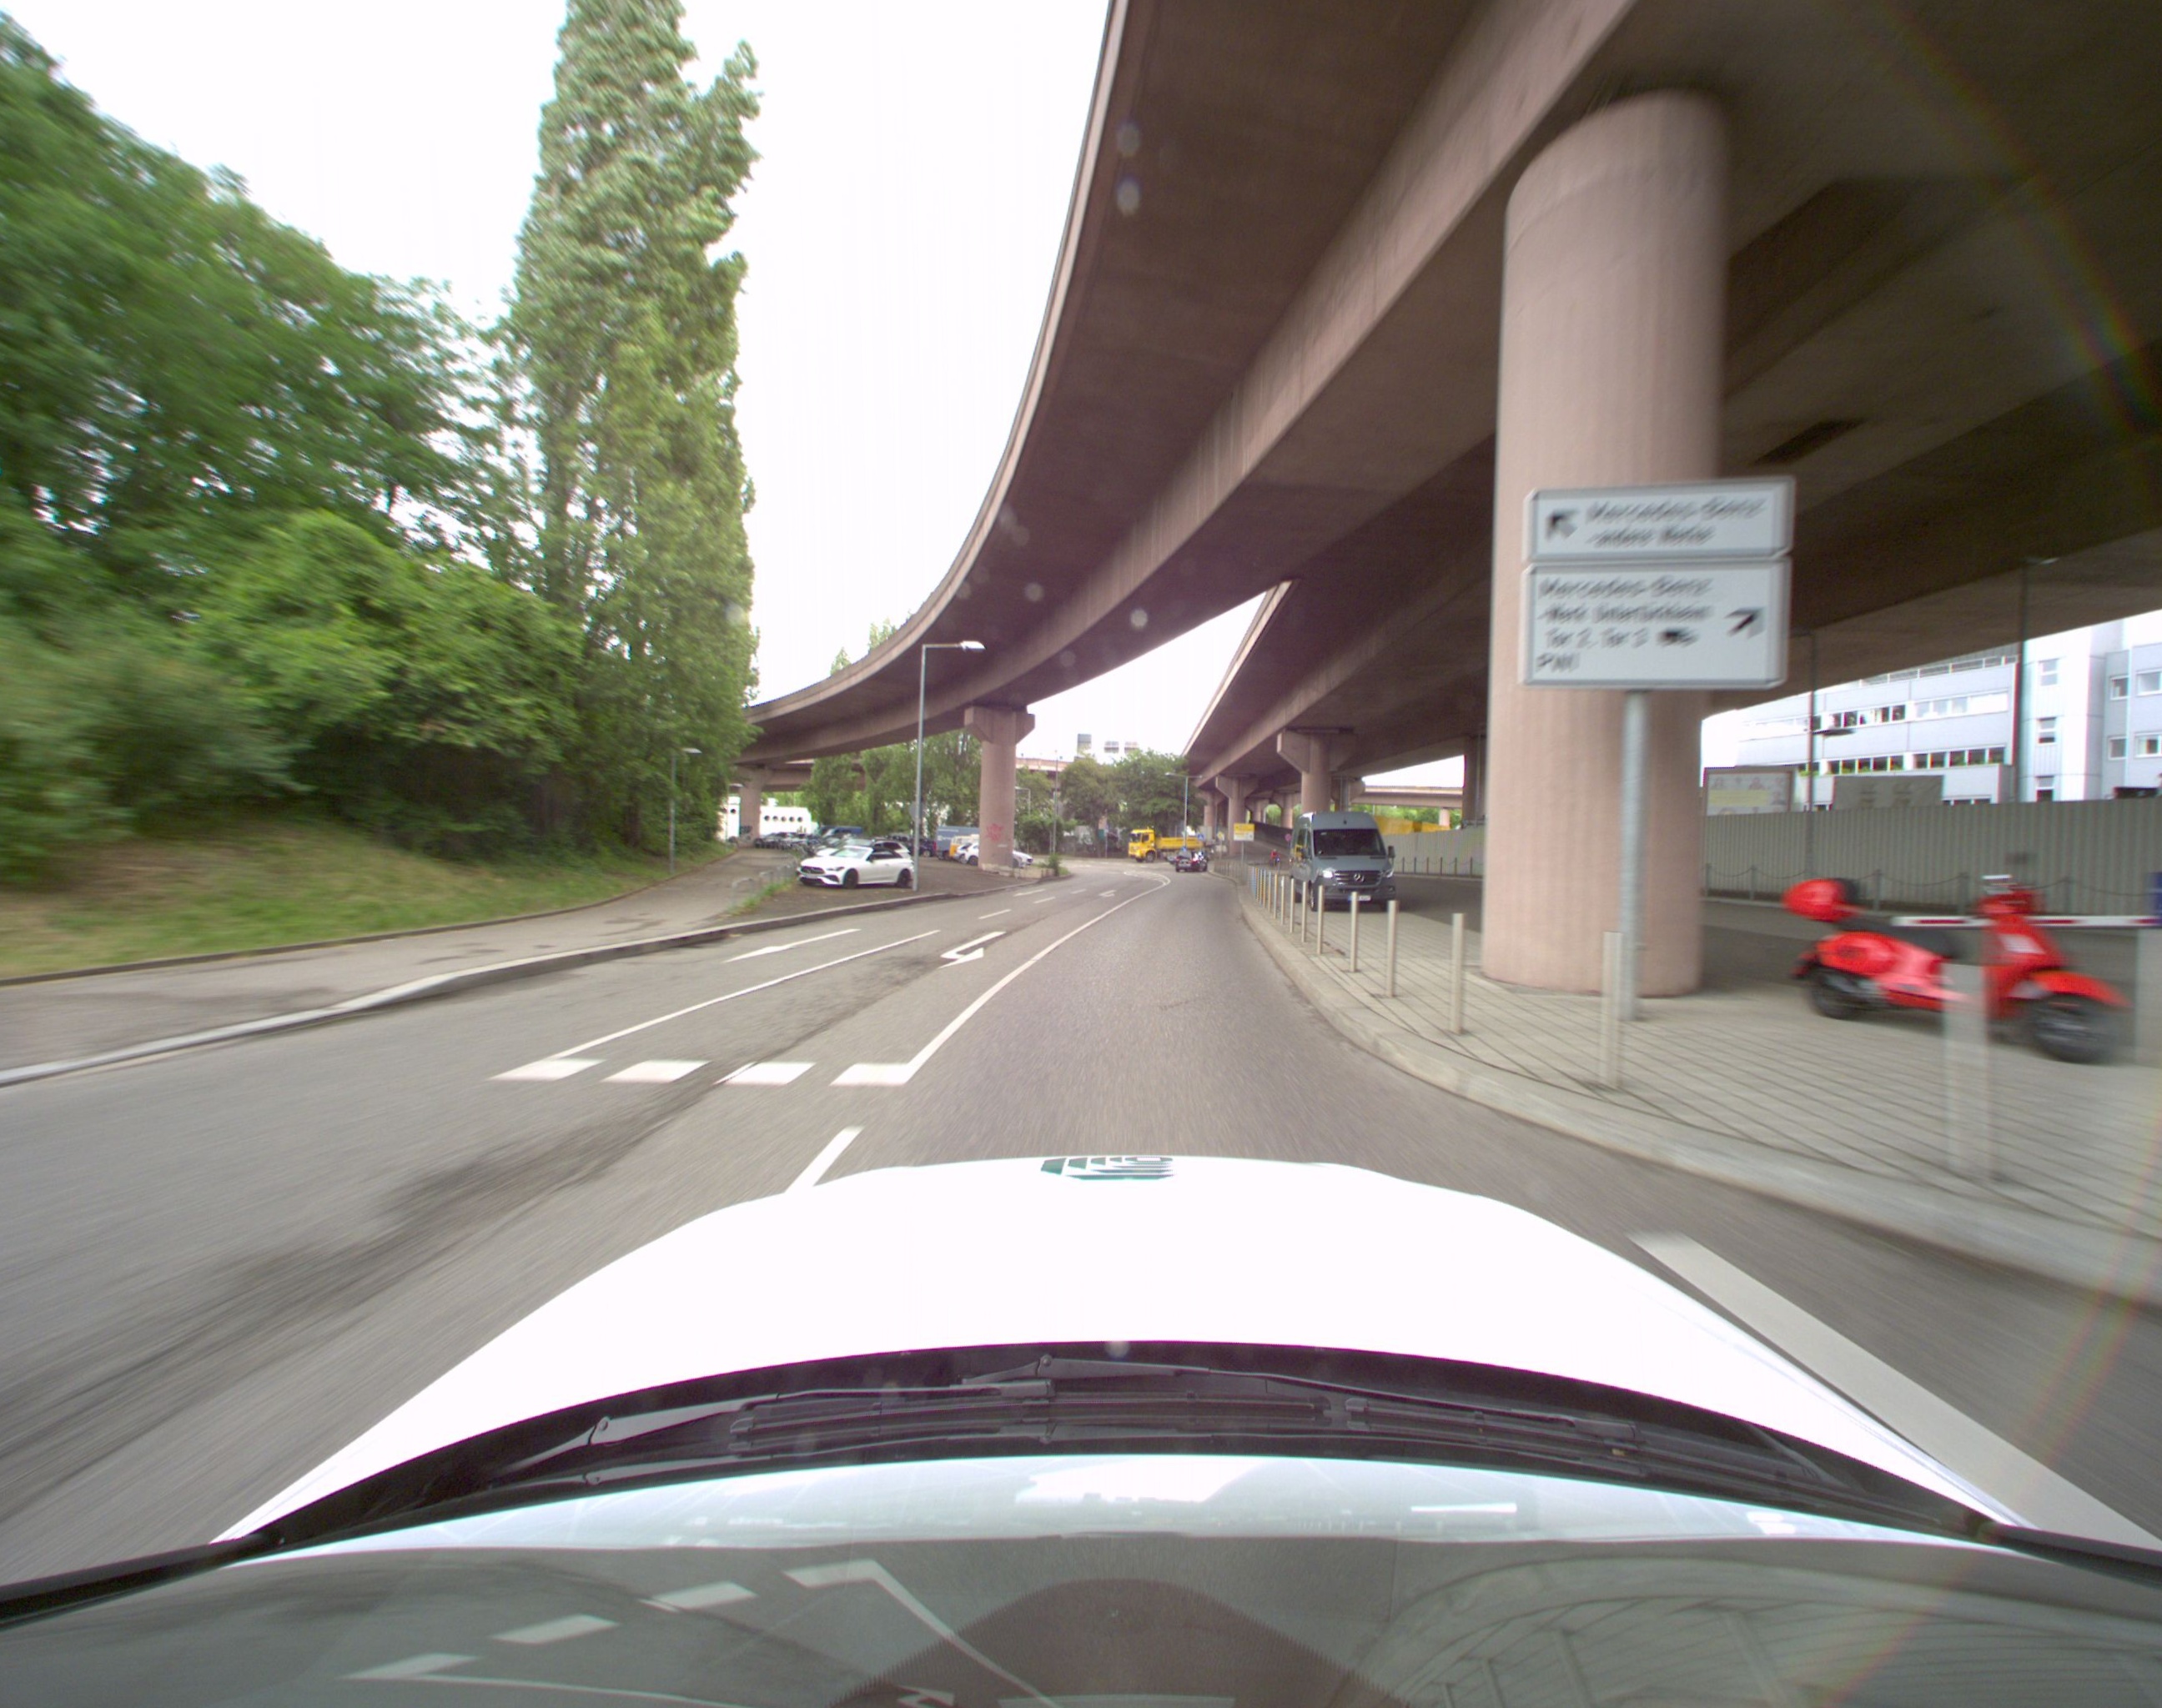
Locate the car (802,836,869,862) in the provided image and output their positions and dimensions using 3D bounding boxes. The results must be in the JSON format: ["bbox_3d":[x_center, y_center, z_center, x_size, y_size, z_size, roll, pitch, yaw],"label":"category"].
[{"bbox_3d":[-16.509,-0.358,54.983,1.877,1.675,4.180,0,0,29],"label":"car"}]

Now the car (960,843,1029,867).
[{"bbox_3d":[-5.881,0.074,55.585,4.214,1.371,2.008,4,1,14],"label":"car"}]

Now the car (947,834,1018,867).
[{"bbox_3d":[-7.029,-0.264,58.229,4.526,2.111,1.857,2,1,11],"label":"car"}]

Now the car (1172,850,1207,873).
[{"bbox_3d":[8.804,0.582,65.546,1.978,1.679,4.581,2,1,17],"label":"car"}]

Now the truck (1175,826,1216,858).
[{"bbox_3d":[16.216,-1.768,115.801,3.069,4.299,8.014,0,2,-13],"label":"truck"}]

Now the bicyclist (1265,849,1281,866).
[{"bbox_3d":[15.886,0.292,67.308,0.800,1.405,1.057,0,0,-27],"label":"bicyclist"}]

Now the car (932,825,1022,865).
[{"bbox_3d":[-7.733,-0.705,61.025,6.142,2.724,2.373,2,1,7],"label":"car"}]

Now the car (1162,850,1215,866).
[{"bbox_3d":[10.742,0.373,81.318,4.940,1.501,2.155,0,0,-26],"label":"car"}]

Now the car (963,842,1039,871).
[{"bbox_3d":[-5.116,0.150,52.443,4.348,1.605,1.963,4,1,16],"label":"car"}]

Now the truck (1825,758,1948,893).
[{"bbox_3d":[29.138,-0.893,29.592,2.779,4.158,9.989,0,0,44],"label":"truck"}]

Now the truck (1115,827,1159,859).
[{"bbox_3d":[7.228,-1.500,106.759,3.073,3.867,8.002,0,2,-17],"label":"truck"}]

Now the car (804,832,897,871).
[{"bbox_3d":[-10.865,-0.086,38.653,1.840,1.691,4.188,2,0,27],"label":"car"}]

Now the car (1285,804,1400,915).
[{"bbox_3d":[6.959,0.100,22.350,1.982,2.613,6.088,0,0,8],"label":"car"}]

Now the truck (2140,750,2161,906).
[{"bbox_3d":[29.025,-0.701,19.616,10.357,4.303,2.976,0,0,-45],"label":"truck"}]

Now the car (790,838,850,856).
[{"bbox_3d":[-21.611,-0.558,67.643,1.975,1.435,4.673,0,0,27],"label":"car"}]

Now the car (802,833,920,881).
[{"bbox_3d":[-8.545,0.174,32.043,1.976,1.582,4.424,6,1,24],"label":"car"}]

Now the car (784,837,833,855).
[{"bbox_3d":[-23.576,-0.666,70.476,1.771,1.474,3.910,1,0,26],"label":"car"}]

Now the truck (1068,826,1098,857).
[{"bbox_3d":[0.281,-2.032,131.029,3.206,4.779,8.015,0,2,-12],"label":"truck"}]

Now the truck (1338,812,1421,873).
[{"bbox_3d":[25.613,-0.923,69.584,8.767,4.917,3.109,1,0,-45],"label":"truck"}]

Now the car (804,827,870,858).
[{"bbox_3d":[-18.711,-0.866,62.710,2.098,2.254,5.046,0,0,24],"label":"car"}]

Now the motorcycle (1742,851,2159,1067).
[{"bbox_3d":[6.577,0.675,6.388,0.797,1.366,2.120,0,1,-14],"label":"motorcycle"}]

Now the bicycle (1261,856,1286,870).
[{"bbox_3d":[15.891,0.759,67.304,0.806,1.097,2.112,0,0,-27],"label":"bicycle"}]

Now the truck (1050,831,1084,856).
[{"bbox_3d":[-2.240,-1.700,127.530,3.065,3.618,7.865,0,2,-19],"label":"truck"}]

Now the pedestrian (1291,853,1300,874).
[{"bbox_3d":[17.811,0.798,67.706,0.536,1.676,0.556,-1,1,-9],"label":"pedestrian"}]

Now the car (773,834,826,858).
[{"bbox_3d":[-25.109,-0.767,72.753,1.823,1.800,4.329,-1,4,28],"label":"car"}]

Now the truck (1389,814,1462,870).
[{"bbox_3d":[32.349,-1.030,76.205,8.767,4.903,3.109,1,0,-45],"label":"truck"}]

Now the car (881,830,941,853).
[{"bbox_3d":[-16.266,-1.225,78.127,5.062,2.072,2.264,1,-1,7],"label":"car"}]

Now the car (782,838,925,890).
[{"bbox_3d":[-7.671,0.405,28.041,1.976,1.479,4.854,5,0,24],"label":"car"}]

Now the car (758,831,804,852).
[{"bbox_3d":[-28.577,-1.194,77.663,1.639,1.712,4.103,4,0,21],"label":"car"}]

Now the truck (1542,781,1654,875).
[{"bbox_3d":[27.425,-1.232,42.926,3.108,4.443,9.783,0,0,44],"label":"truck"}]

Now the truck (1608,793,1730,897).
[{"bbox_3d":[27.055,-0.382,37.207,10.124,4.183,2.863,0,0,-45],"label":"truck"}]

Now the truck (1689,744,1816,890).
[{"bbox_3d":[26.711,-1.269,32.159,3.109,4.923,9.783,0,0,44],"label":"truck"}]

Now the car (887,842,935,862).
[{"bbox_3d":[-15.147,-0.174,72.680,3.985,1.730,1.994,0,0,-8],"label":"car"}]

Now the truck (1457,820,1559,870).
[{"bbox_3d":[27.910,-0.608,52.978,8.767,2.944,3.109,-2,-1,-44],"label":"truck"}]

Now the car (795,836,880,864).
[{"bbox_3d":[-14.269,-0.247,48.022,1.840,1.487,4.918,4,2,27],"label":"car"}]

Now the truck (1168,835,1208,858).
[{"bbox_3d":[14.266,-1.012,109.010,2.923,2.898,6.521,0,2,-17],"label":"truck"}]

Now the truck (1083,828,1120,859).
[{"bbox_3d":[2.728,-1.407,111.168,3.072,3.963,6.886,1,0,-16],"label":"truck"}]

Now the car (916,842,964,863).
[{"bbox_3d":[-12.075,-0.126,70.172,3.985,1.740,2.016,0,0,-8],"label":"car"}]

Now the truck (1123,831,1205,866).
[{"bbox_3d":[8.852,-0.653,86.343,8.259,3.480,2.913,0,4,-26],"label":"truck"}]
